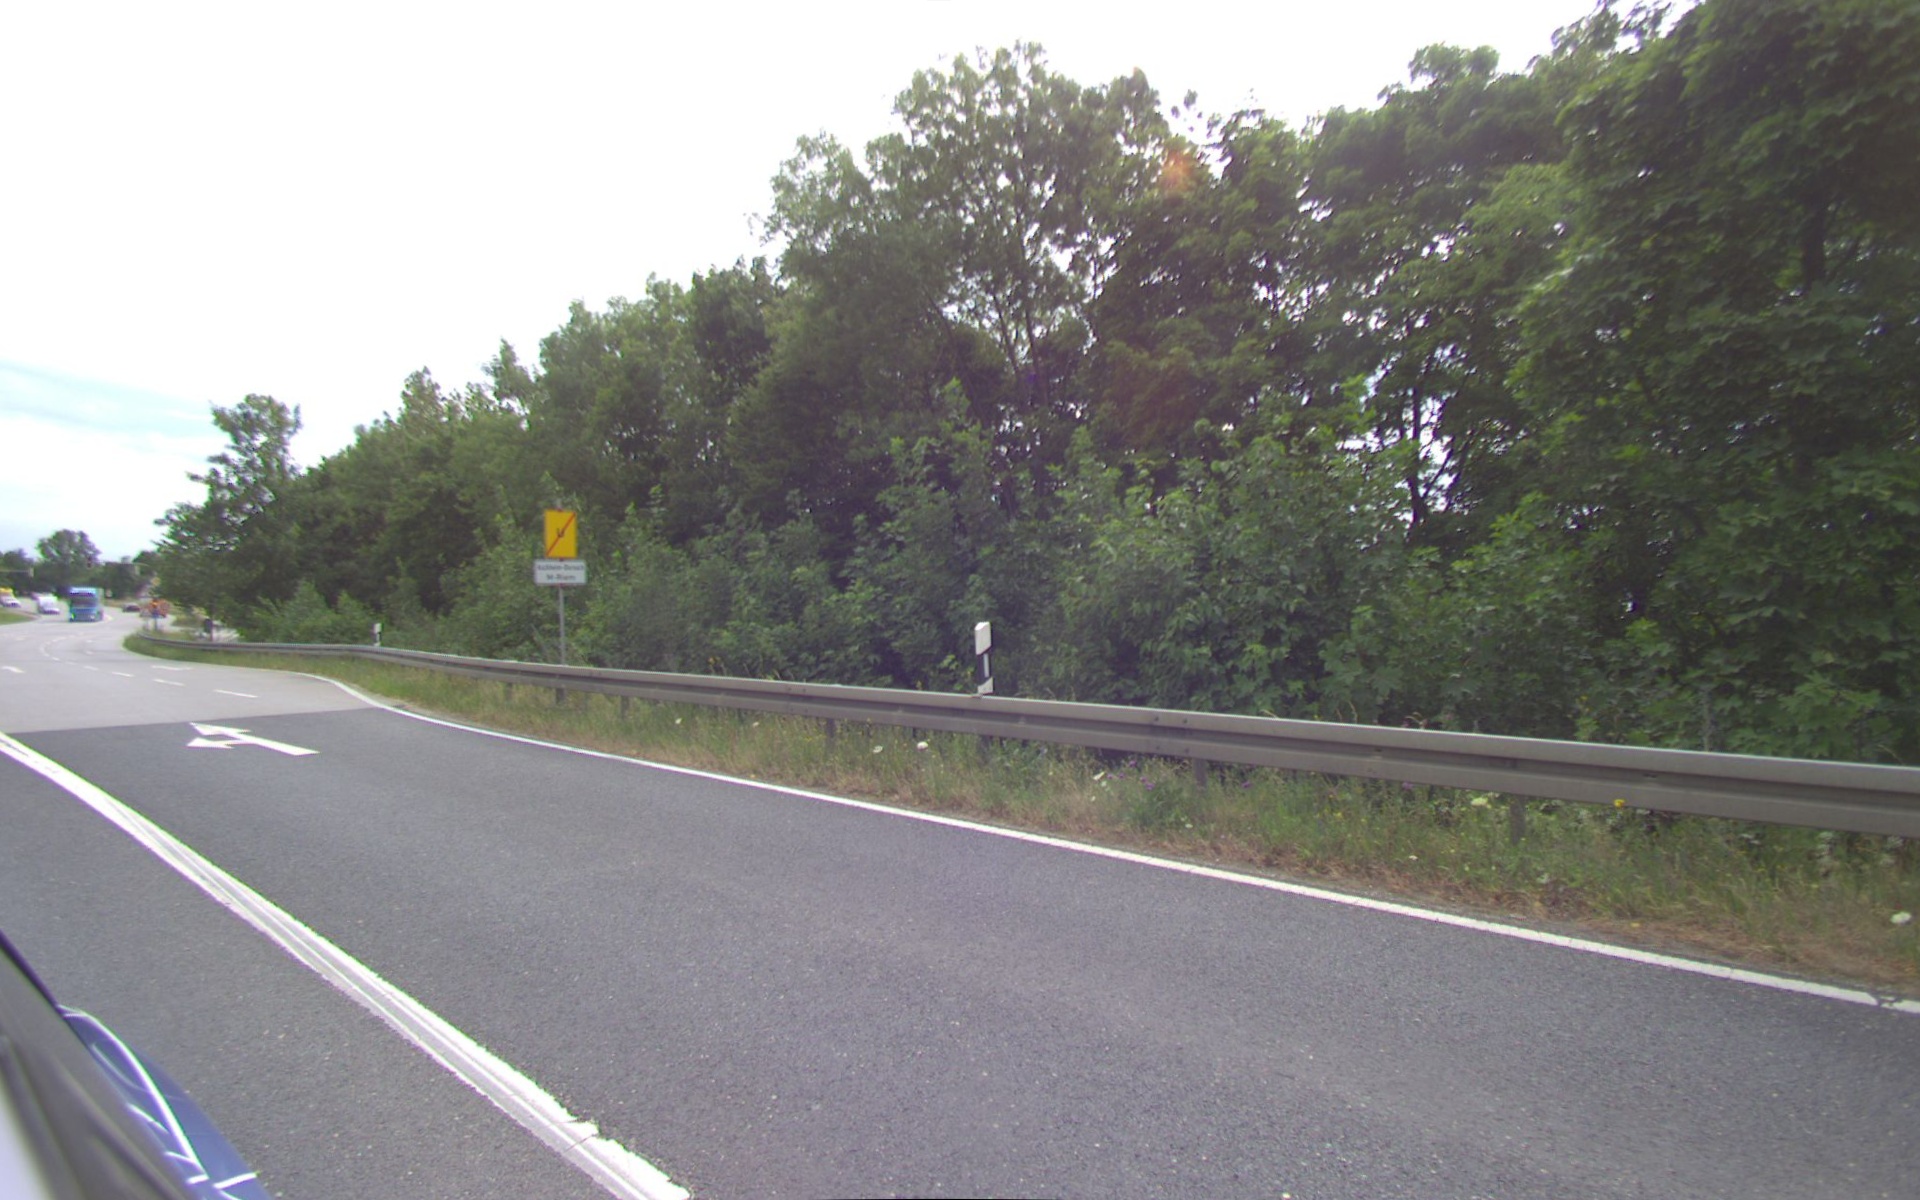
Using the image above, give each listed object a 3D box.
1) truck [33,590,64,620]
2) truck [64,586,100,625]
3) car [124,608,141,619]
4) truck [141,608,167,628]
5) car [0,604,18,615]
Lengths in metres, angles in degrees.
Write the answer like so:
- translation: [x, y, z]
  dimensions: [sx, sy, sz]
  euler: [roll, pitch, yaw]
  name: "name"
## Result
- translation: [-137.377, 0.775, 152.577]
  dimensions: [2.981, 4.383, 9.586]
  euler: [4, -3, -40]
  name: "truck"
- translation: [-104.903, 0.701, 121.008]
  dimensions: [2.981, 4.383, 9.586]
  euler: [4, -3, -40]
  name: "truck"
- translation: [-134.837, 2.207, 164.858]
  dimensions: [1.892, 1.582, 4.005]
  euler: [4, -3, -42]
  name: "car"
- translation: [-112.512, 2.482, 141.171]
  dimensions: [2.288, 2.621, 6.029]
  euler: [4, -3, -43]
  name: "truck"
- translation: [-163.490, 1.683, 173.968]
  dimensions: [4.001, 1.730, 1.971]
  euler: [0, -3, 44]
  name: "car"
